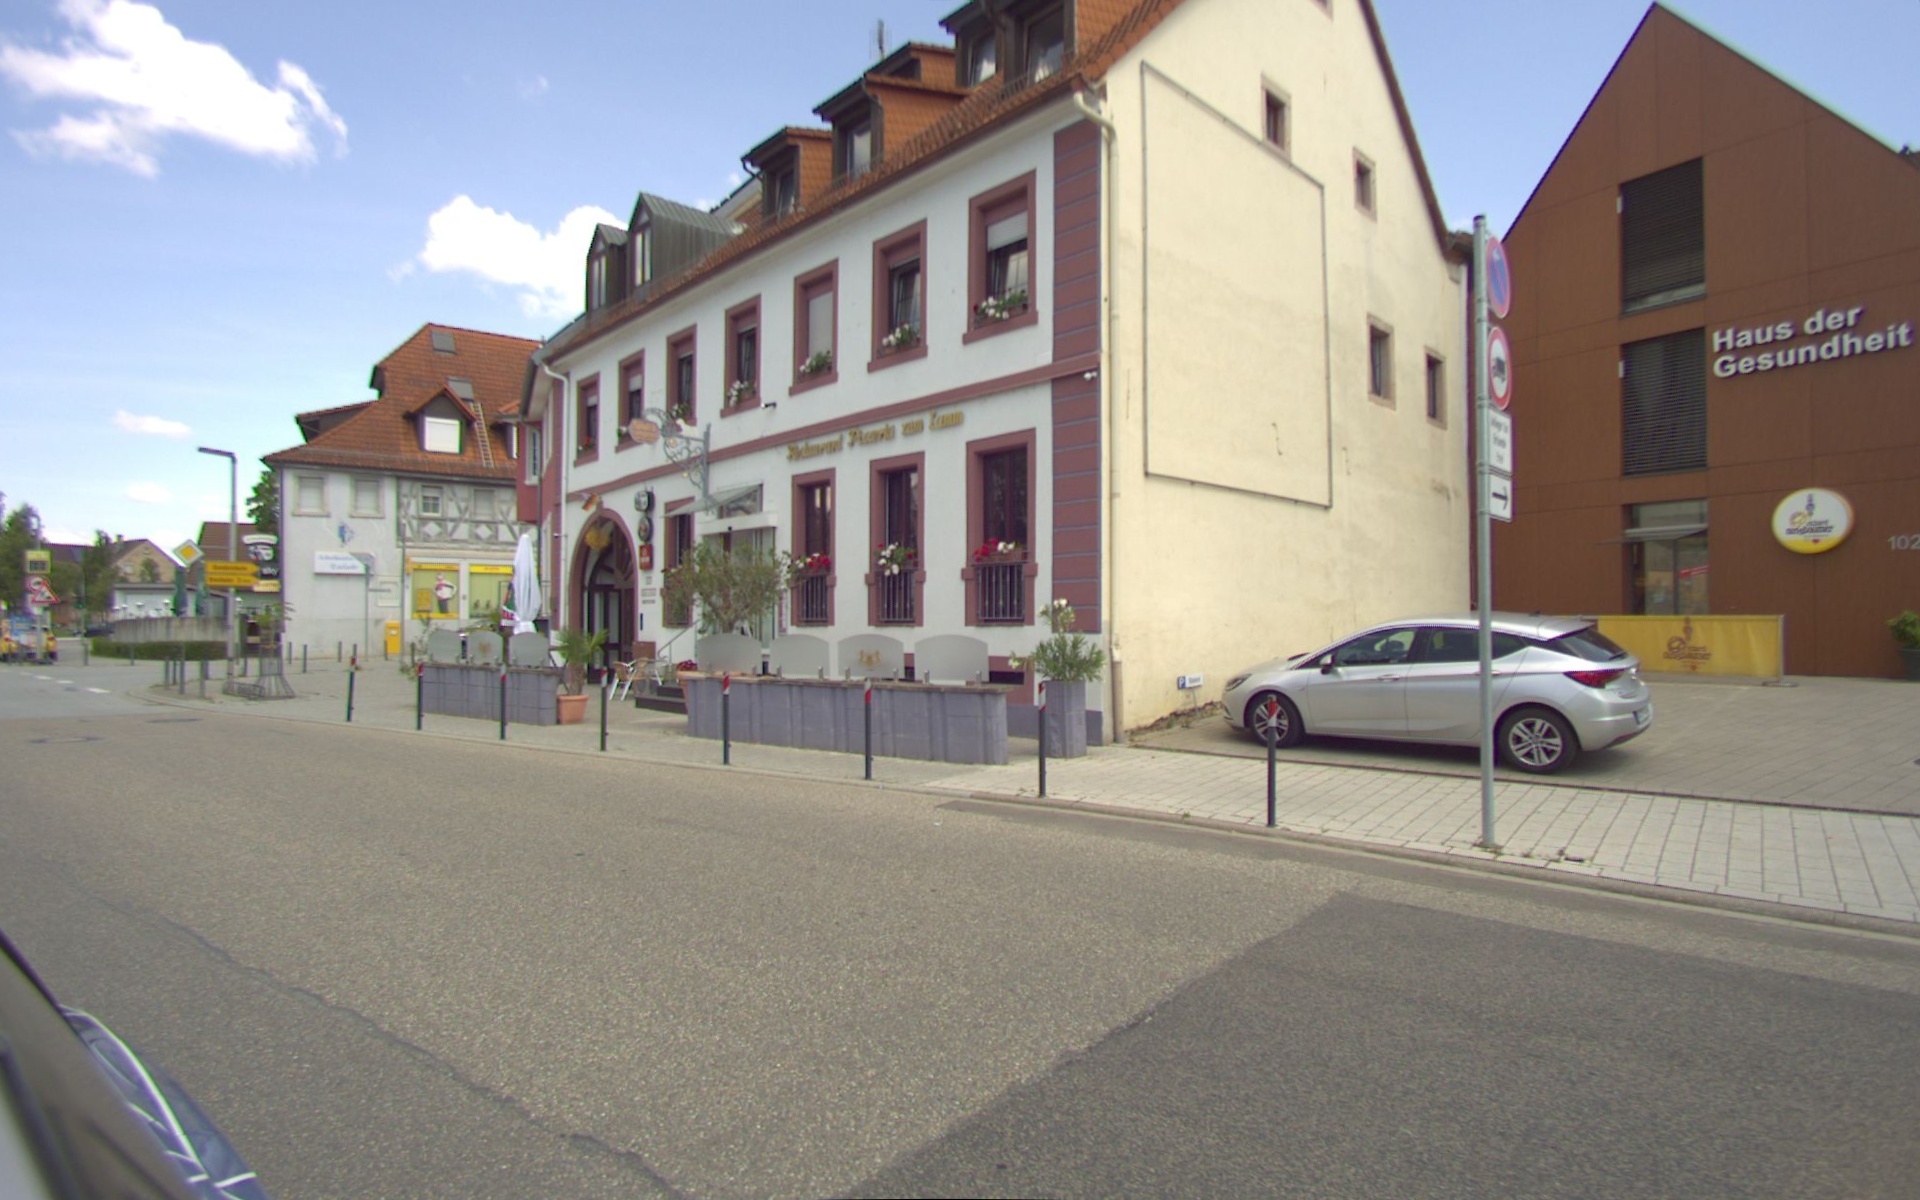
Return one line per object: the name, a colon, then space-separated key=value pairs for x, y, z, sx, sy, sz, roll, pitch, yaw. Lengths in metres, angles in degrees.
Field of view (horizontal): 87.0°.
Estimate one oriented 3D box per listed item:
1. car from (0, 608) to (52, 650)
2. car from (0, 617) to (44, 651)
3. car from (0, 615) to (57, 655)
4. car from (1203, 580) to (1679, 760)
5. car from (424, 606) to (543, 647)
car: x=-46.490 y=1.422 z=50.195 sx=1.961 sy=2.005 sz=5.052 roll=1 pitch=-2 yaw=-40
car: x=-41.539 y=1.466 z=44.514 sx=1.794 sy=1.434 sz=4.542 roll=1 pitch=-2 yaw=-43
car: x=-36.868 y=1.370 z=39.848 sx=3.964 sy=1.486 sz=1.649 roll=-2 pitch=-2 yaw=44
car: x=4.985 y=0.632 z=10.909 sx=4.277 sy=1.503 sz=1.739 roll=-1 pitch=2 yaw=44
car: x=-18.502 y=1.004 z=39.343 sx=3.890 sy=1.530 sz=1.777 roll=0 pitch=-1 yaw=-38
